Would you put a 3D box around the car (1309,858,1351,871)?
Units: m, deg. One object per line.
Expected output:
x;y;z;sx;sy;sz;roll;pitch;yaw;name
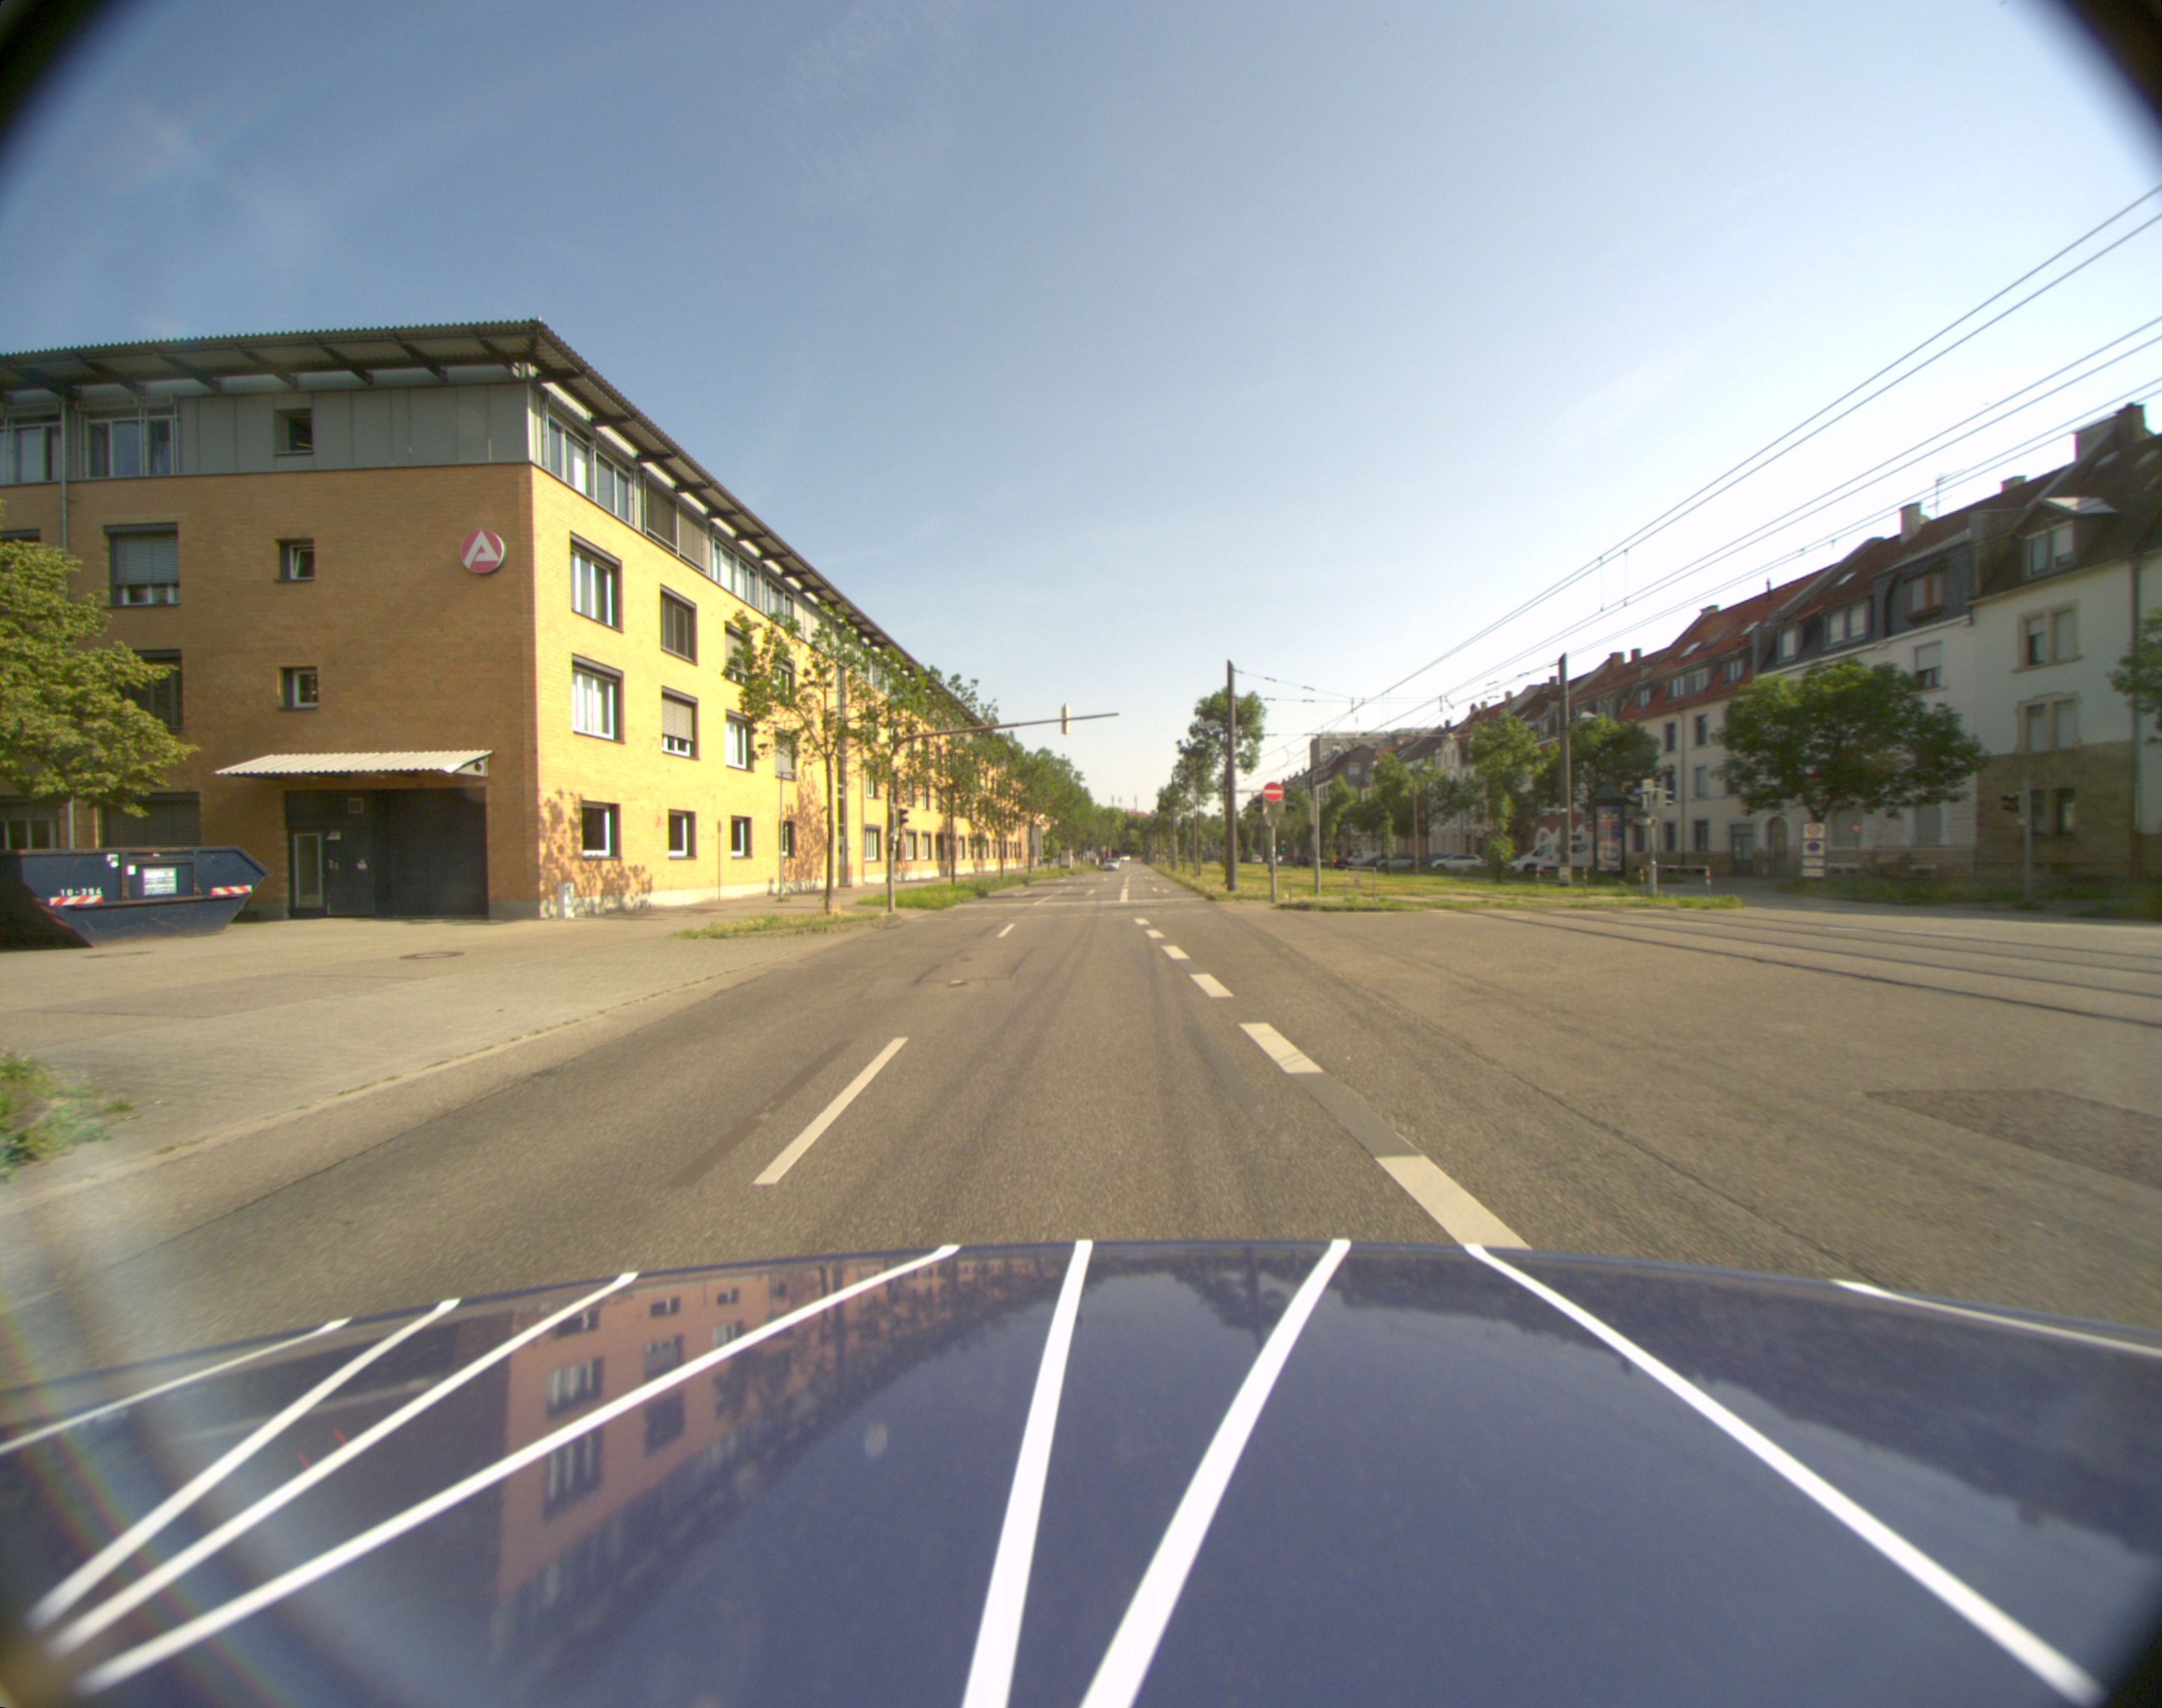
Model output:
32.750;1.367;100.077;4.765;1.476;2.027;-3;1;36;car

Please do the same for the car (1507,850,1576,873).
30.515;0.477;50.364;3.677;1.324;1.665;-3;1;38;car

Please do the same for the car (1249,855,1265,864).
30.026;0.902;129.564;1.951;1.451;4.650;-3;0;6;car

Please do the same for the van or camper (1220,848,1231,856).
36.983;-0.499;194.144;1.956;2.085;5.354;-3;0;3;van or camper

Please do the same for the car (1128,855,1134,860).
13.812;0.981;210.676;1.692;1.476;3.367;-3;0;3;car

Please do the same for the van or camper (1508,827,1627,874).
30.164;-0.181;47.219;5.910;2.558;2.203;-3;1;38;van or camper

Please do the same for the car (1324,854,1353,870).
26.296;0.779;77.667;1.816;1.425;3.926;-3;0;3;car

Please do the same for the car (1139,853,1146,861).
17.917;0.808;220.837;1.998;2.002;4.001;-3;0;5;car

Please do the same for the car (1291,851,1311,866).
27.516;0.530;95.027;1.768;1.646;4.002;-3;0;7;car

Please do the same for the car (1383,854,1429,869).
31.443;0.714;73.515;3.677;1.234;1.665;-3;1;38;car

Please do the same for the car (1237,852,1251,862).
31.325;0.576;145.870;1.998;1.620;5.381;-3;0;5;car

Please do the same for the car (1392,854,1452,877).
29.980;1.022;66.903;4.637;1.732;1.837;-3;1;28;car

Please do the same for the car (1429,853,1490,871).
30.219;0.648;60.696;4.004;1.309;1.665;-3;1;38;car

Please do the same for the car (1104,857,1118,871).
3.516;1.171;88.797;1.628;1.476;3.367;-3;0;3;car

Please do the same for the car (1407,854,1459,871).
29.760;0.690;64.229;3.677;1.234;1.665;-3;1;36;car

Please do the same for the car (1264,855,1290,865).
35.535;1.113;137.792;3.989;1.716;2.004;-3;1;40;car

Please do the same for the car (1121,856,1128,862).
11.025;1.223;194.297;1.692;1.476;3.367;-3;0;3;car

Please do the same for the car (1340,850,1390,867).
32.443;0.531;86.842;4.939;1.716;1.860;-3;1;38;car

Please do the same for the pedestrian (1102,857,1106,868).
3.620;1.310;119.213;0.636;1.637;0.609;1;1;0;pedestrian

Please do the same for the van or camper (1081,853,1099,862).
2.957;1.002;248.240;5.799;2.677;2.408;-3;1;1;van or camper

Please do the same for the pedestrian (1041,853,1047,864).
-5.406;0.609;110.883;0.697;1.647;0.773;0;1;4;pedestrian

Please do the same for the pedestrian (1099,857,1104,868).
3.271;1.331;120.934;0.707;1.637;0.689;1;1;2;pedestrian
